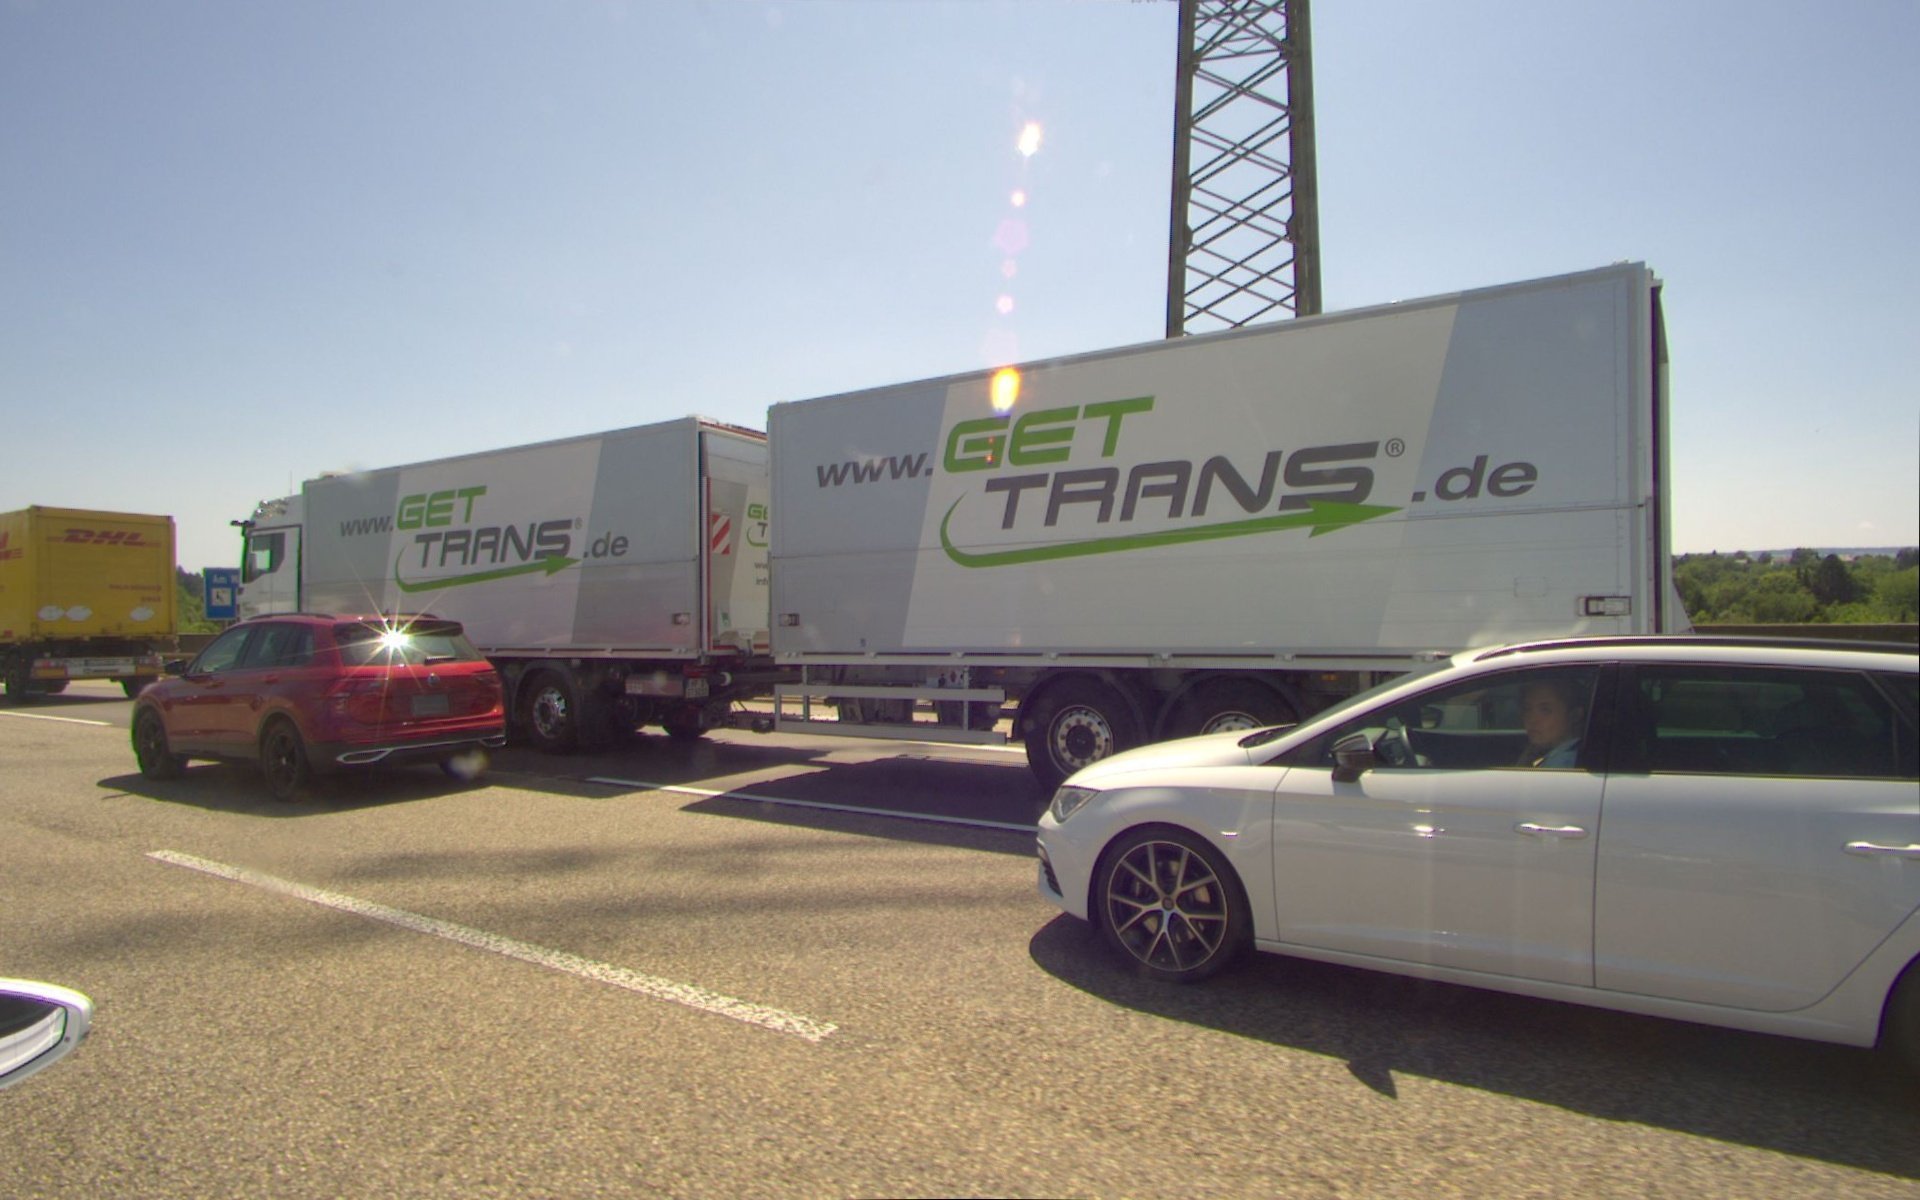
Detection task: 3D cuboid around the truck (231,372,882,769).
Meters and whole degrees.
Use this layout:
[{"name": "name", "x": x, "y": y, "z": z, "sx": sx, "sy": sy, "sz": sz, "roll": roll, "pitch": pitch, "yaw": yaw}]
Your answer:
[{"name": "truck", "x": -6.150, "y": -0.115, "z": 14.031, "sx": 10.458, "sy": 3.984, "sz": 2.847, "roll": -2, "pitch": -2, "yaw": 32}]

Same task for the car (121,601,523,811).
[{"name": "car", "x": -6.419, "y": 0.930, "z": 9.956, "sx": 4.223, "sy": 1.700, "sz": 1.706, "roll": -2, "pitch": -1, "yaw": 32}]

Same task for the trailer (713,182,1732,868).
[{"name": "trailer", "x": 1.702, "y": -0.290, "z": 9.131, "sx": 8.097, "sy": 3.940, "sz": 2.894, "roll": -2, "pitch": -2, "yaw": 32}]

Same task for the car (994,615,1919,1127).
[{"name": "car", "x": 2.449, "y": 0.816, "z": 4.081, "sx": 4.365, "sy": 1.470, "sz": 1.706, "roll": -1, "pitch": -2, "yaw": 32}]

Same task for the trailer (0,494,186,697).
[{"name": "trailer", "x": -22.039, "y": 0.056, "z": 23.835, "sx": 8.850, "sy": 4.139, "sz": 2.679, "roll": -2, "pitch": -2, "yaw": 31}]

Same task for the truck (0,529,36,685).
[{"name": "truck", "x": -30.088, "y": 0.292, "z": 28.680, "sx": 9.796, "sy": 4.139, "sz": 2.696, "roll": -2, "pitch": -2, "yaw": 31}]
